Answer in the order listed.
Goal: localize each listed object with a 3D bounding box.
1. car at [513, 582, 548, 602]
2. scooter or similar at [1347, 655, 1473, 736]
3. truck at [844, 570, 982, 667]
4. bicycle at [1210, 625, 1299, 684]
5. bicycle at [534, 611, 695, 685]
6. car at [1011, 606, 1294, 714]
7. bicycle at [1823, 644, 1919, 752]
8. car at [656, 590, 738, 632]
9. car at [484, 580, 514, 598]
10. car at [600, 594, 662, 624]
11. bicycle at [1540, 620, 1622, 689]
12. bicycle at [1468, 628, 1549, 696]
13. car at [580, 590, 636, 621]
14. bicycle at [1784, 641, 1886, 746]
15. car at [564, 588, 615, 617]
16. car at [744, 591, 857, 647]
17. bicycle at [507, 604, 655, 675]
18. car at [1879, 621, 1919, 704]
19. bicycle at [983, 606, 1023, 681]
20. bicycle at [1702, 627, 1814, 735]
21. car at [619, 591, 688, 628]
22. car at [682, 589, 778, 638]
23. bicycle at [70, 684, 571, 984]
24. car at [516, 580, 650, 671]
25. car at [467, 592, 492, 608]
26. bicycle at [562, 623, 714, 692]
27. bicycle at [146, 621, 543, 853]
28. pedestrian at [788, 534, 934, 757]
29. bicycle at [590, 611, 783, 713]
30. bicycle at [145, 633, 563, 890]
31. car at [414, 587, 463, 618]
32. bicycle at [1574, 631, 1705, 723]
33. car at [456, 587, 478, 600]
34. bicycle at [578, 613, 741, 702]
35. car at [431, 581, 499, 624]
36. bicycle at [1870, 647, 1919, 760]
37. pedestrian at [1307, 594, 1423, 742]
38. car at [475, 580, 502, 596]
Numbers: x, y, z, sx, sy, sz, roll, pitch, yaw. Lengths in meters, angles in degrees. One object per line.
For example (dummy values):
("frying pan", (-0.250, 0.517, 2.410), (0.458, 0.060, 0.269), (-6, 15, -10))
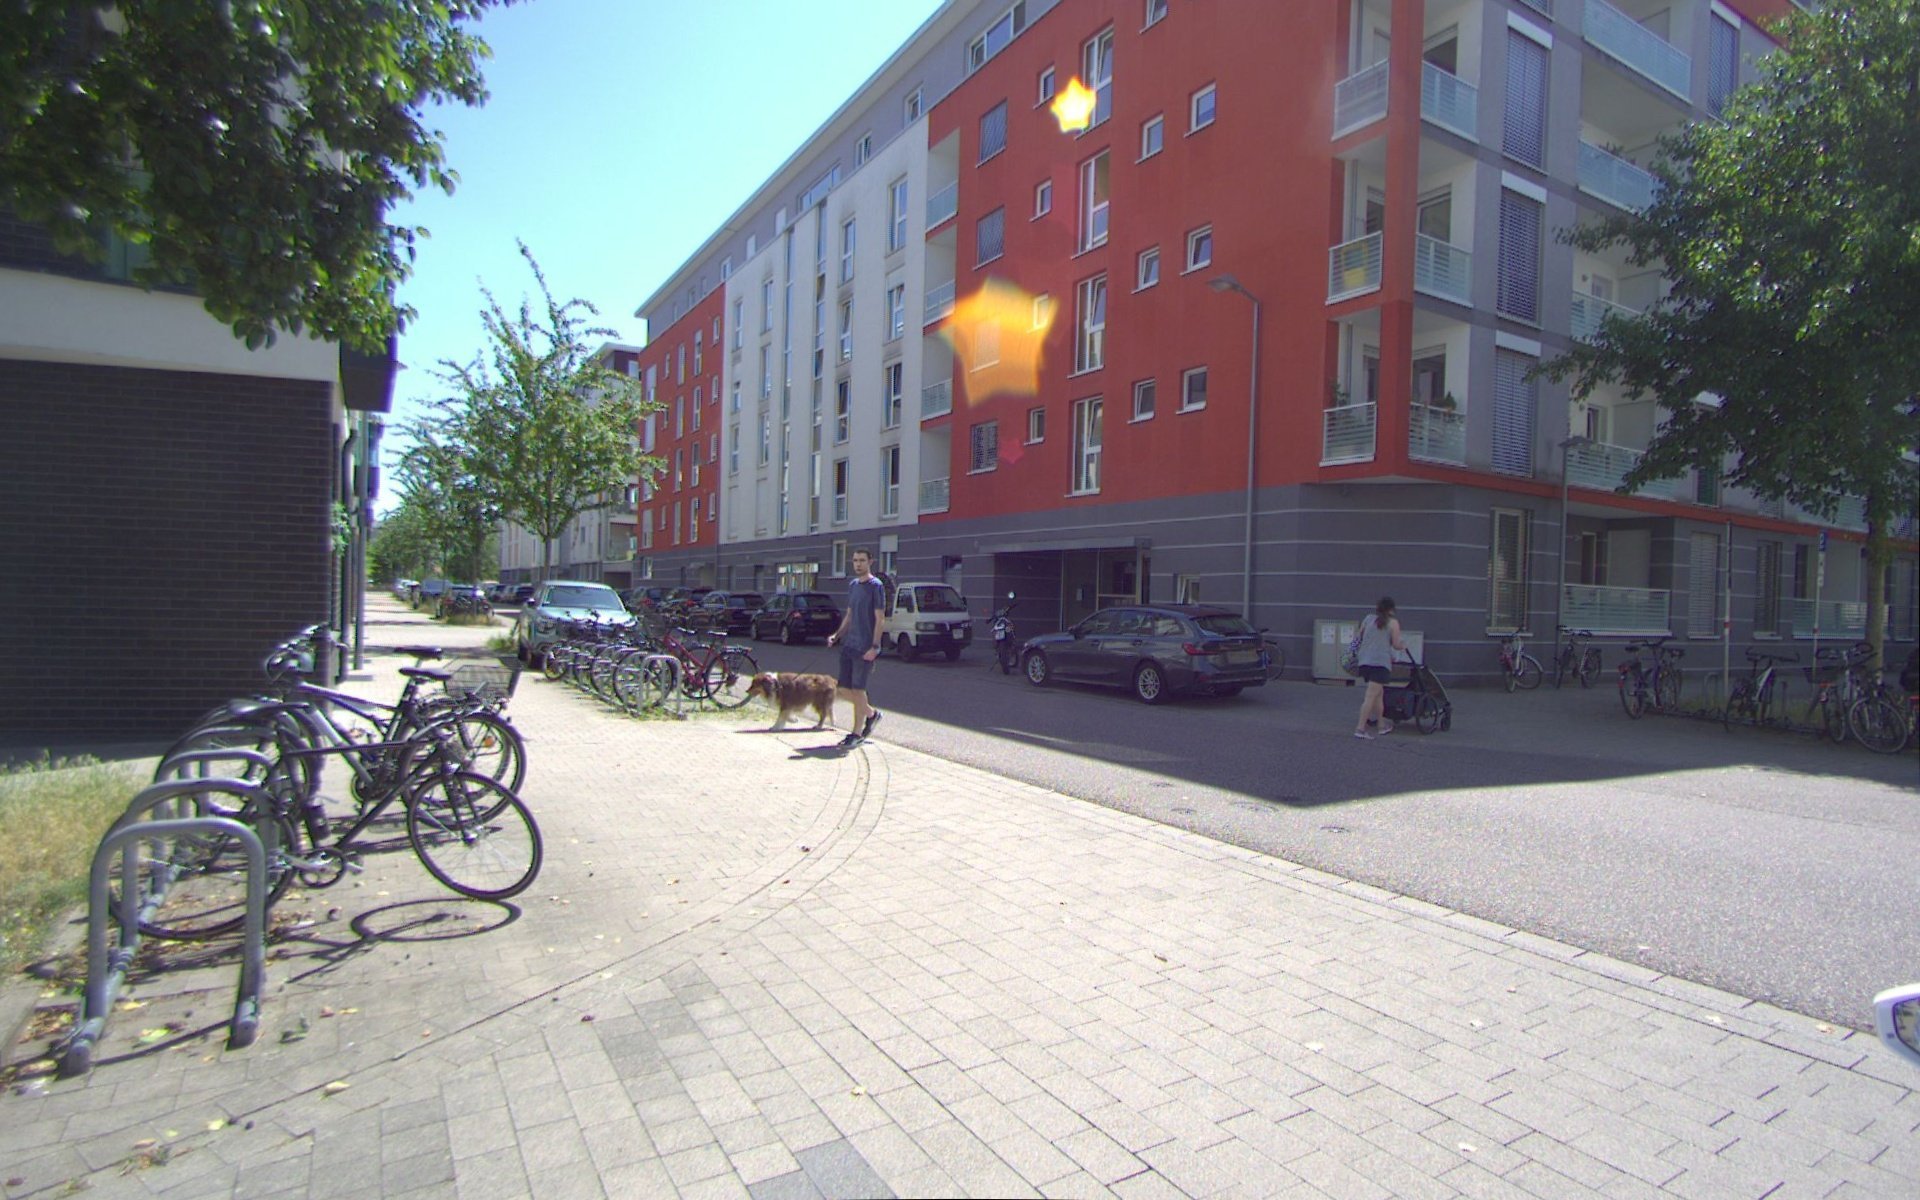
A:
("car", (-34.072, -0.630, 79.664), (1.978, 1.528, 3.965), (1, 0, -32))
("scooter or similar", (5.691, 1.184, 12.723), (1.007, 0.900, 1.063), (1, 0, -30))
("truck", (-1.174, 0.362, 23.348), (1.543, 2.041, 3.709), (-2, 2, -33))
("bicycle", (5.483, 0.996, 18.796), (0.298, 1.000, 1.829), (1, 0, -34))
("bicycle", (-5.250, 0.709, 15.365), (2.211, 1.049, 0.703), (2, 0, -39))
("car", (2.927, 0.844, 16.293), (1.917, 1.402, 4.545), (-1, 1, -33))
("bicycle", (11.368, 1.181, 12.482), (1.680, 1.220, 0.432), (0, 2, -31))
("car", (-10.251, 0.411, 38.981), (1.978, 1.528, 3.965), (1, 0, -32))
("car", (-41.420, -1.014, 90.162), (1.978, 1.528, 3.965), (1, 0, -32))
("car", (-16.002, 0.424, 48.768), (1.978, 1.361, 3.965), (1, 0, -32))
("bicycle", (11.893, 1.025, 19.209), (1.904, 1.256, 0.548), (1, -1, -32))
("bicycle", (9.724, 1.070, 17.773), (2.090, 1.122, 0.601), (2, 0, -42))
("car", (-18.502, 0.286, 52.756), (1.978, 1.528, 3.965), (1, 0, -32))
("bicycle", (11.348, 1.171, 13.014), (1.733, 1.220, 0.515), (0, 2, -34))
("car", (-21.103, 0.114, 57.192), (1.978, 1.528, 3.965), (1, 0, -32))
("car", (-4.750, 0.517, 29.544), (1.977, 1.469, 3.967), (1, 1, -30))
("bicycle", (-6.313, 0.654, 16.767), (2.244, 1.106, 0.806), (1, 0, -26))
("car", (19.726, 1.288, 17.996), (2.051, 1.535, 4.360), (1, 2, -31))
("bicycle", (0.886, 0.831, 20.186), (0.669, 1.396, 2.352), (1, 0, 5))
("bicycle", (10.792, 1.050, 13.565), (1.791, 1.349, 0.590), (0, 0, -31))
("car", (-13.552, 0.382, 44.308), (1.978, 1.528, 3.965), (1, 0, -32))
("car", (-7.824, 0.425, 33.925), (1.978, 1.528, 3.965), (1, 0, -32))
("bicycle", (-2.567, 0.890, 4.223), (1.657, 1.004, 0.531), (2, 2, -29))
("car", (-7.215, 0.430, 19.010), (1.948, 1.536, 3.769), (2, 0, -27))
("car", (-50.768, 0.000, 106.059), (1.978, 1.528, 3.965), (1, 0, -32))
("bicycle", (-4.568, 0.804, 14.310), (1.987, 0.920, 0.532), (2, 0, -33))
("bicycle", (-3.570, 0.742, 6.019), (1.899, 1.189, 0.744), (1, 0, -29))
("pedestrian", (-0.991, 0.428, 9.919), (1.115, 2.040, 1.005), (1, 0, -28))
("bicycle", (-3.210, 0.707, 11.912), (2.082, 1.106, 0.704), (2, 0, -36))
("bicycle", (-3.194, 0.765, 5.423), (1.822, 1.151, 0.703), (2, 0, -37))
("car", (-27.180, 0.101, 52.296), (1.978, 1.528, 3.965), (1, 0, -32))
("bicycle", (9.949, 1.086, 14.685), (2.197, 1.186, 0.685), (0, 3, -31))
("car", (-59.846, -0.818, 121.867), (1.978, 1.528, 3.965), (1, 0, -32))
("bicycle", (-3.900, 0.735, 13.122), (1.973, 1.083, 0.487), (1, 0, -34))
("car", (-18.909, 0.073, 38.279), (1.978, 1.528, 3.965), (1, 0, -32))
("bicycle", (11.579, 1.217, 12.106), (1.753, 1.190, 0.565), (0, 4, -38))
("pedestrian", (4.919, 0.788, 12.242), (0.822, 1.713, 0.995), (1, 0, -30))
("car", (-47.045, -1.183, 100.107), (1.978, 1.528, 3.965), (1, 0, -32))
